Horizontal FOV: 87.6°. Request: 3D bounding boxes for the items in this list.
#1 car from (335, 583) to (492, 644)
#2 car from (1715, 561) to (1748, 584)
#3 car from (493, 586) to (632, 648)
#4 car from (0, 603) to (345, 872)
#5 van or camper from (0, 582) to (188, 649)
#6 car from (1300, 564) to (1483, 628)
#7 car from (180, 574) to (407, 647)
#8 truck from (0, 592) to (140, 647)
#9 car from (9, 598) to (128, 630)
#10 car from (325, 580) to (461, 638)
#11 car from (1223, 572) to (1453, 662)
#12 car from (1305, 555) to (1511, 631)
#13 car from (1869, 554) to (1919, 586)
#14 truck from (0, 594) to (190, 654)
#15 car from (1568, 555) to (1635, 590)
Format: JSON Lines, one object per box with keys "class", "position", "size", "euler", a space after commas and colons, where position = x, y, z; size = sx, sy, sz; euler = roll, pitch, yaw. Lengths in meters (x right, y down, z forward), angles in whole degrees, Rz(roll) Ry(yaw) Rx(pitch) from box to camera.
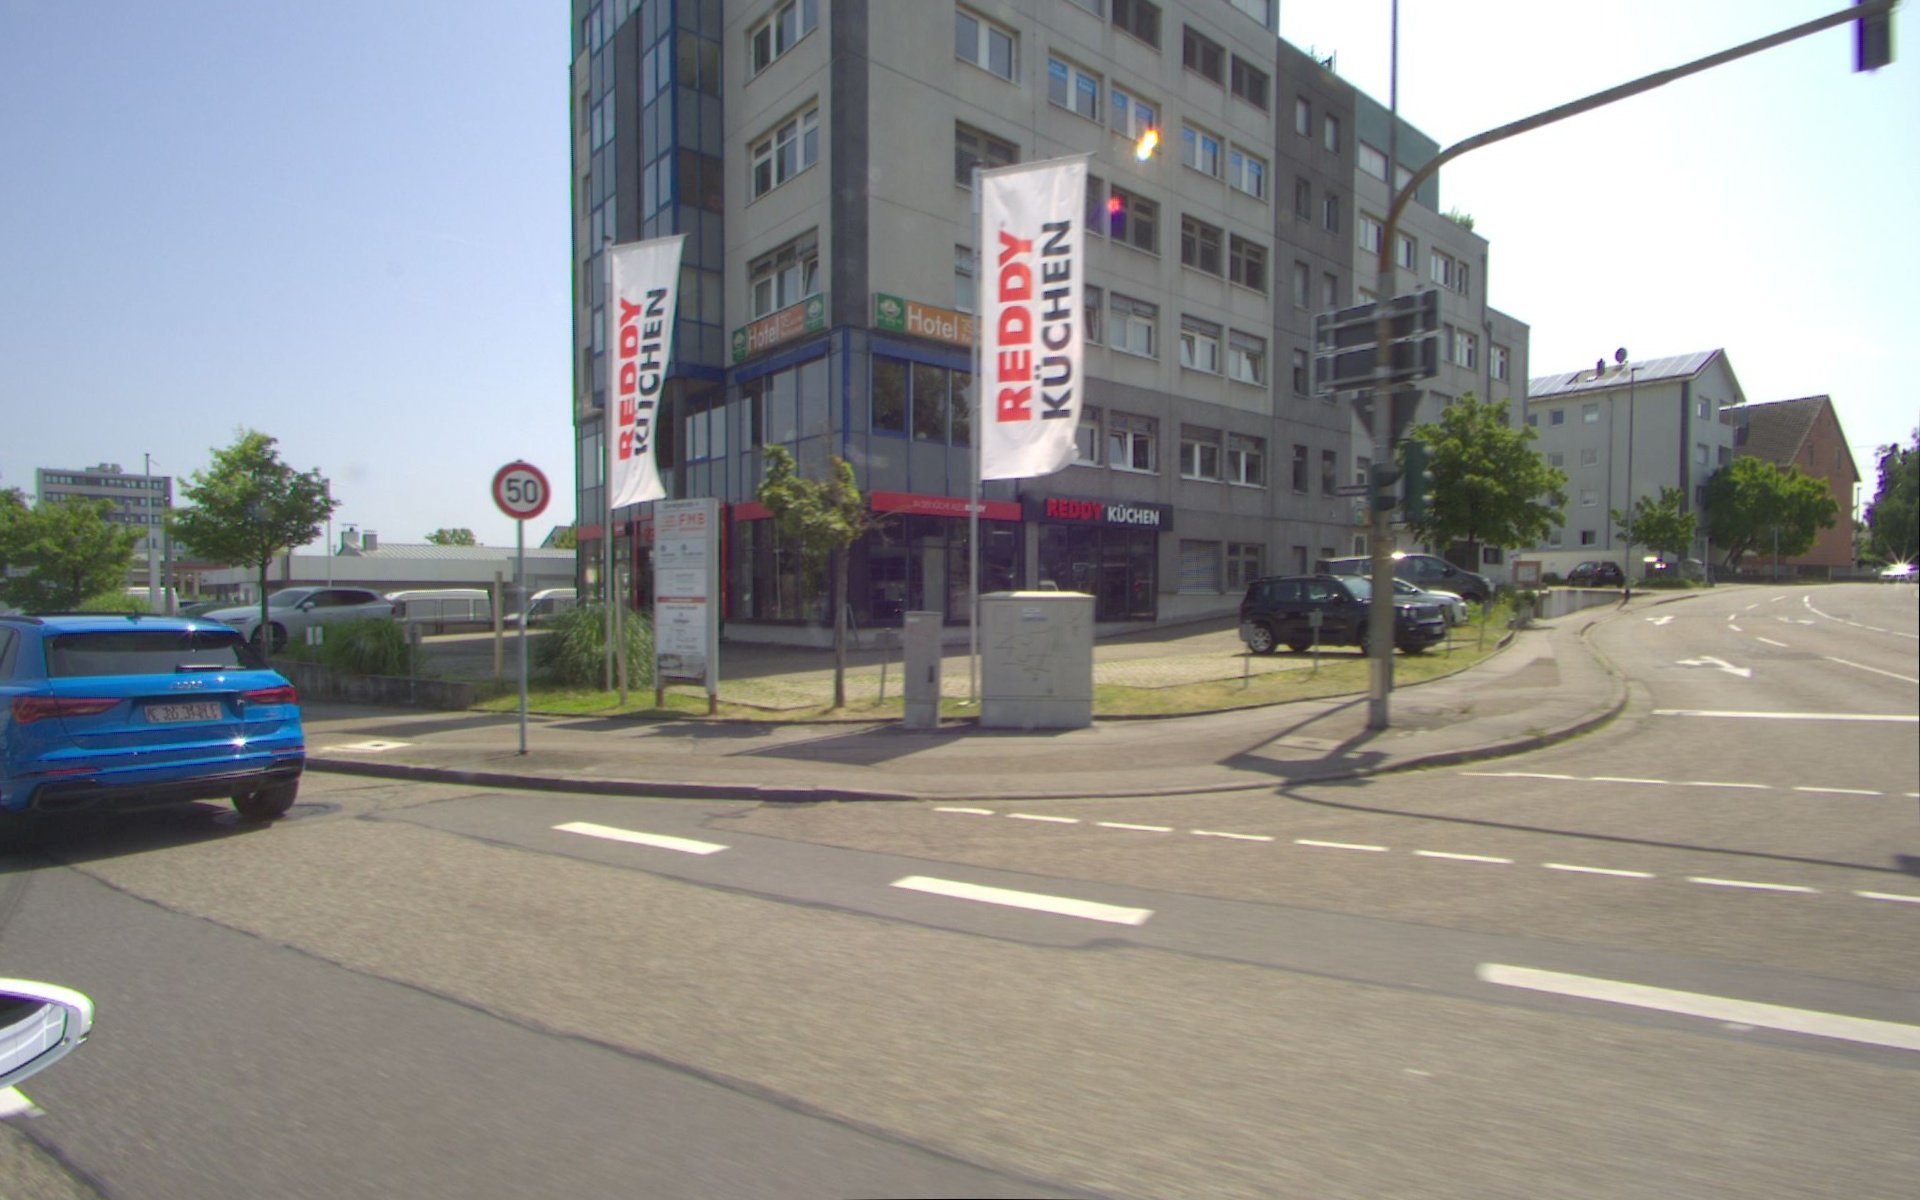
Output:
{"class": "car", "position": [-24.333, 0.655, 44.762], "size": [5.845, 2.560, 2.101], "euler": [2, -2, -42]}
{"class": "car", "position": [58.098, -2.049, 75.380], "size": [1.703, 1.528, 3.921], "euler": [-2, -2, 41]}
{"class": "car", "position": [-19.306, 0.865, 48.876], "size": [6.076, 2.845, 1.981], "euler": [2, -2, -44]}
{"class": "car", "position": [-7.021, 0.876, 8.029], "size": [4.333, 1.618, 1.909], "euler": [-1, -1, 33]}
{"class": "van or camper", "position": [-40.927, 0.660, 47.323], "size": [2.251, 2.937, 6.755], "euler": [1, 1, 44]}
{"class": "car", "position": [11.296, -0.080, 26.443], "size": [4.143, 1.552, 1.544], "euler": [-1, -2, 6]}
{"class": "car", "position": [-17.271, 0.340, 26.278], "size": [1.965, 1.735, 4.733], "euler": [-1, -2, 20]}
{"class": "truck", "position": [-43.435, 0.876, 48.788], "size": [5.210, 2.469, 2.091], "euler": [-2, 2, -44]}
{"class": "car", "position": [-59.520, 0.981, 67.046], "size": [5.851, 2.040, 2.239], "euler": [2, -1, -41]}
{"class": "car", "position": [-26.547, 0.492, 47.034], "size": [5.247, 2.569, 2.018], "euler": [2, -2, -44]}
{"class": "car", "position": [7.785, 0.354, 20.954], "size": [1.528, 1.697, 4.289], "euler": [0, -1, -42]}
{"class": "car", "position": [12.830, -0.171, 28.978], "size": [5.091, 2.062, 1.892], "euler": [0, -2, 6]}
{"class": "car", "position": [67.678, -2.134, 71.961], "size": [3.934, 2.039, 1.995], "euler": [1, -2, -22]}
{"class": "truck", "position": [-37.881, 0.973, 44.008], "size": [6.202, 2.369, 2.345], "euler": [-2, 2, -44]}
{"class": "car", "position": [36.045, -1.494, 56.400], "size": [1.844, 1.683, 3.999], "euler": [-1, -2, 12]}
